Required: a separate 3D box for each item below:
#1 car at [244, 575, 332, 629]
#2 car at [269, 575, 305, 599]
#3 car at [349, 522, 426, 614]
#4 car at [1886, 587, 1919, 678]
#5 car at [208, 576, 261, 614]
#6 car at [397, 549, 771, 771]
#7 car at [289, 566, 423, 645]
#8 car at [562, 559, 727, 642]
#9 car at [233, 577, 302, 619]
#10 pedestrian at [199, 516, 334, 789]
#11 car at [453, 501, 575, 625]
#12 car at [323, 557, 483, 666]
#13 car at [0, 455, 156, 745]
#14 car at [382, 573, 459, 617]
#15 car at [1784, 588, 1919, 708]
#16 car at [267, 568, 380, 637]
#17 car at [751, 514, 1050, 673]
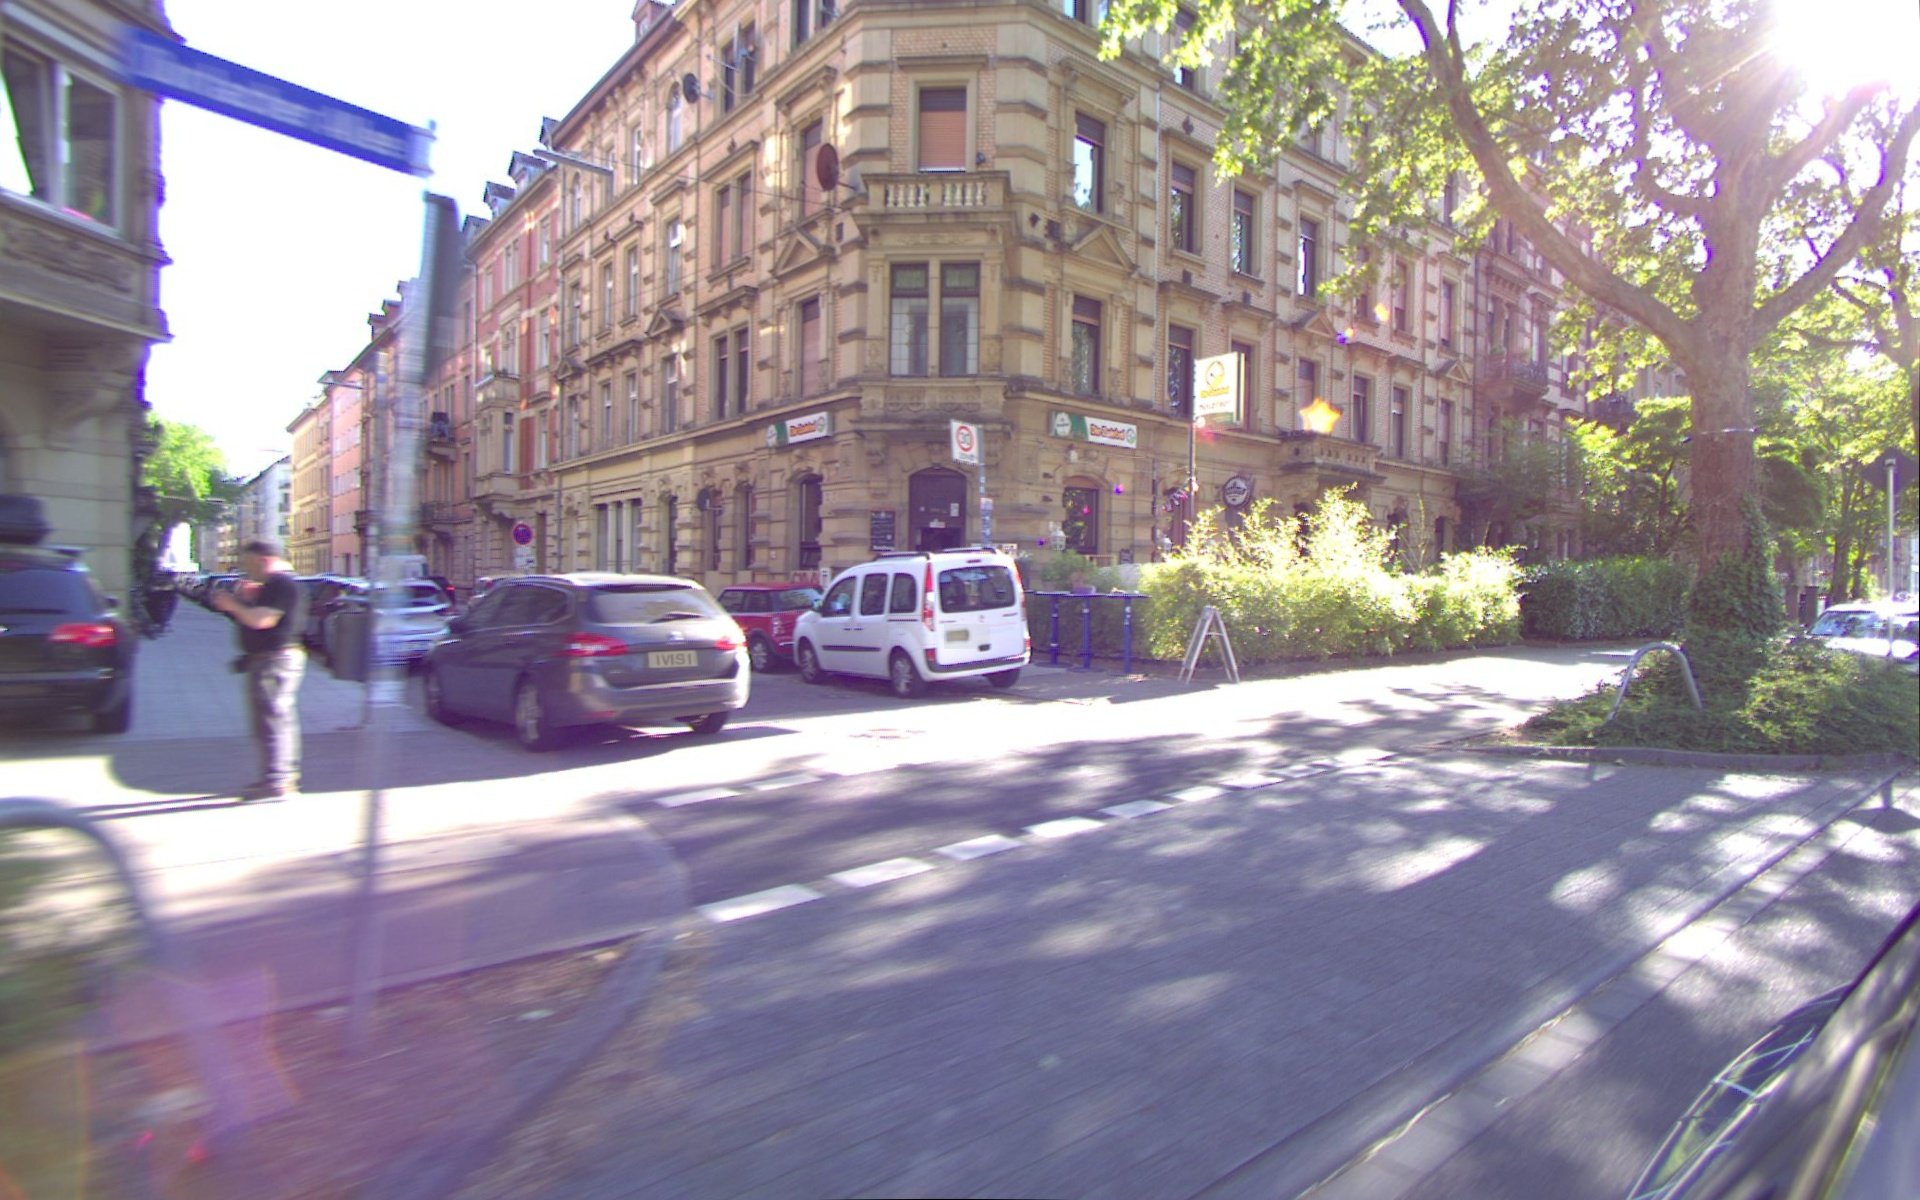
[{"bbox_3d":[-18.818,0.021,28.284,1.722,1.380,3.800,-2,1,-38],"label":"car"},{"bbox_3d":[-45.673,-0.876,68.666,1.722,1.569,3.800,-2,1,-38],"label":"car"},{"bbox_3d":[-25.350,-1.365,44.724,1.985,3.798,5.517,-2,1,-40],"label":"car"},{"bbox_3d":[18.871,0.550,18.875,4.638,1.535,1.680,-2,3,-39],"label":"car"},{"bbox_3d":[-32.454,-0.230,45.230,1.722,1.569,3.800,-2,1,-38],"label":"car"},{"bbox_3d":[-3.794,0.328,9.682,1.875,1.557,4.557,-2,4,-41],"label":"car"},{"bbox_3d":[-12.328,0.076,20.555,1.723,1.437,3.816,-2,1,-40],"label":"car"},{"bbox_3d":[-6.758,-0.024,21.419,1.874,1.581,4.178,-2,1,-40],"label":"car"},{"bbox_3d":[-24.422,-0.084,35.633,1.722,1.380,3.800,-2,1,-38],"label":"car"},{"bbox_3d":[-4.270,0.301,6.230,0.596,1.569,0.540,2,0,-41],"label":"pedestrian"},{"bbox_3d":[-12.802,-1.005,28.870,1.874,3.241,4.884,-2,1,-40],"label":"car"},{"bbox_3d":[-9.235,0.134,16.627,1.722,1.563,3.819,-2,1,-38],"label":"car"},{"bbox_3d":[-8.194,-0.047,8.526,1.965,2.039,3.993,3,-1,-41],"label":"car"},{"bbox_3d":[-21.150,-0.206,39.599,1.874,1.581,4.178,-2,1,-40],"label":"car"},{"bbox_3d":[13.658,0.599,14.768,4.489,1.411,1.680,-2,3,-39],"label":"car"},{"bbox_3d":[-15.309,0.038,24.244,1.723,1.500,4.052,-2,1,-40],"label":"car"},{"bbox_3d":[-1.007,-0.108,14.288,1.874,1.869,4.557,-2,1,-40],"label":"car"}]
